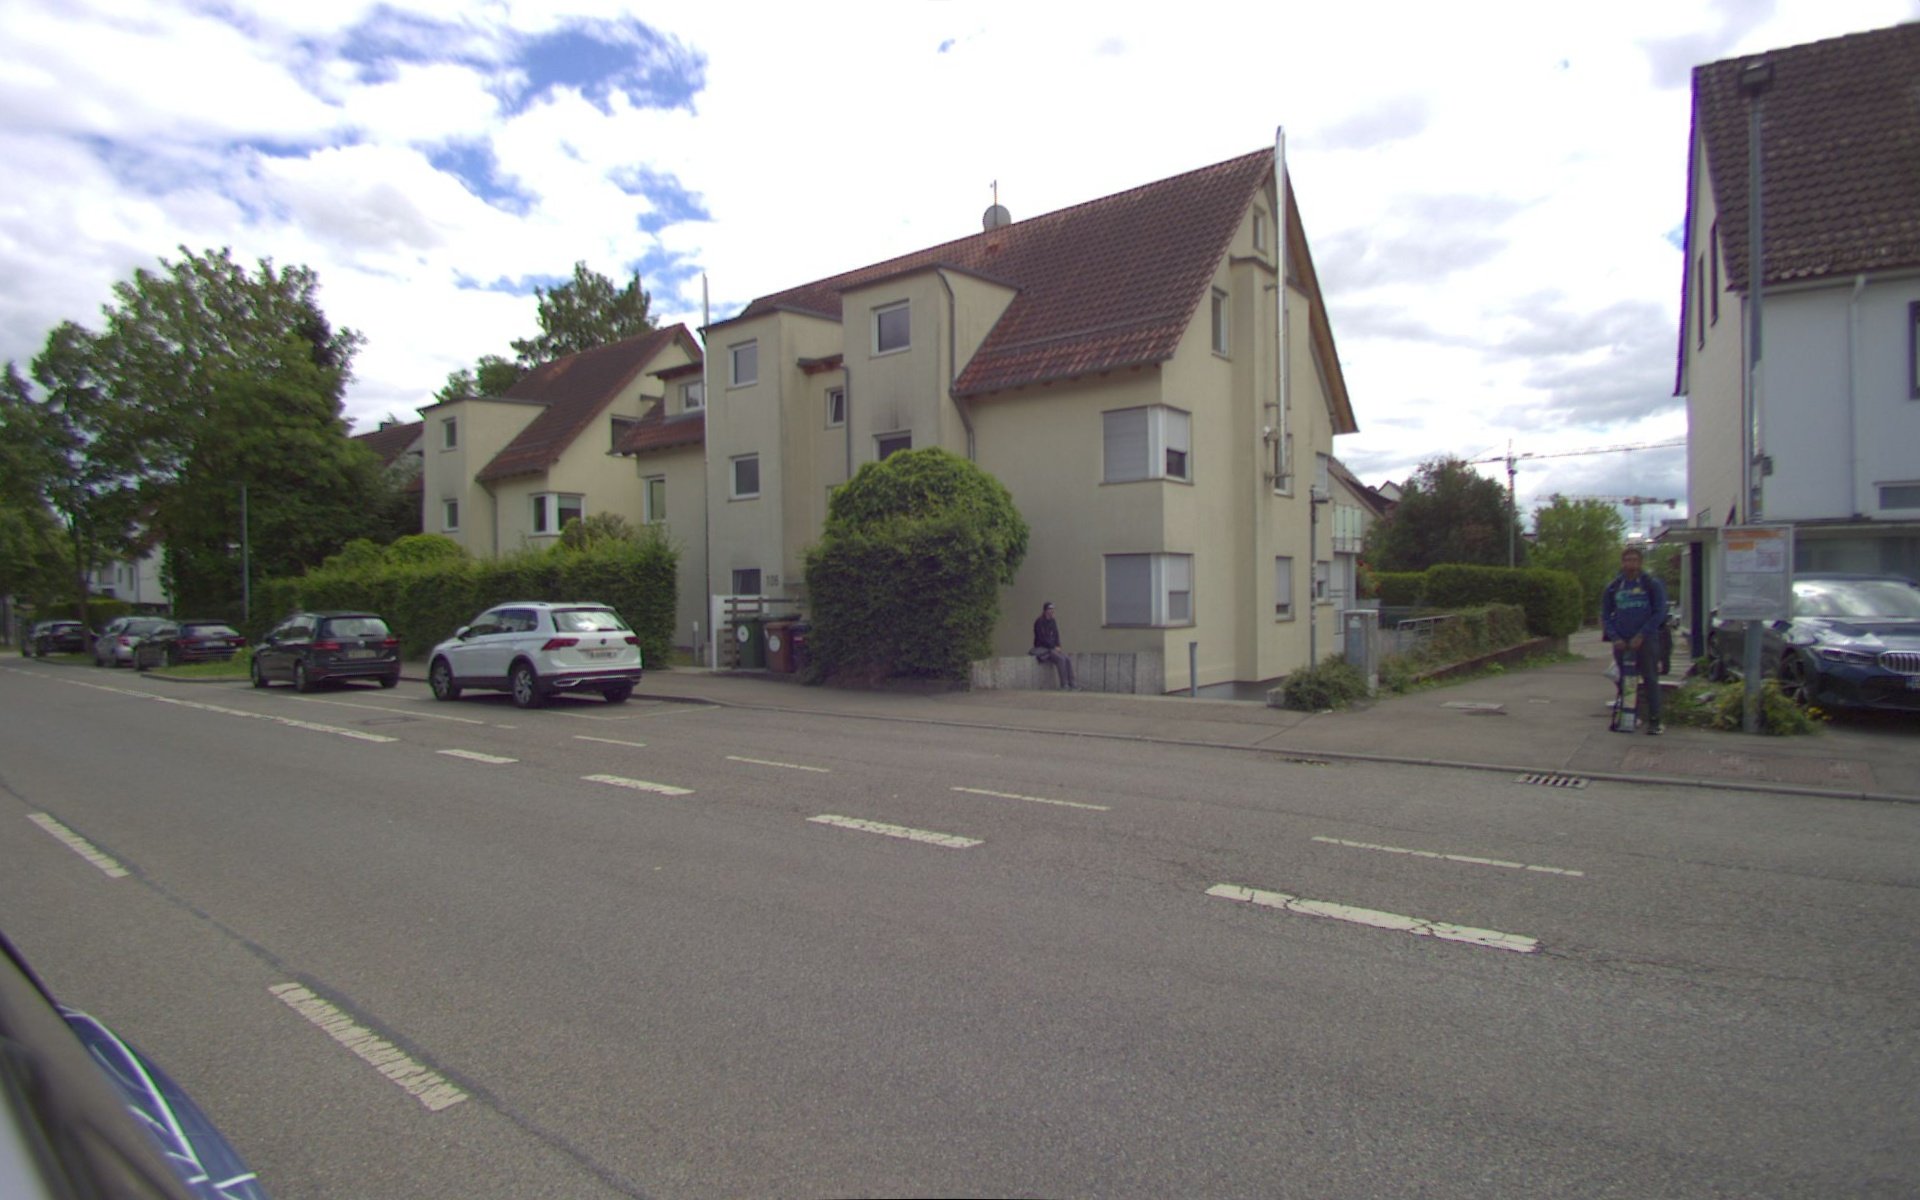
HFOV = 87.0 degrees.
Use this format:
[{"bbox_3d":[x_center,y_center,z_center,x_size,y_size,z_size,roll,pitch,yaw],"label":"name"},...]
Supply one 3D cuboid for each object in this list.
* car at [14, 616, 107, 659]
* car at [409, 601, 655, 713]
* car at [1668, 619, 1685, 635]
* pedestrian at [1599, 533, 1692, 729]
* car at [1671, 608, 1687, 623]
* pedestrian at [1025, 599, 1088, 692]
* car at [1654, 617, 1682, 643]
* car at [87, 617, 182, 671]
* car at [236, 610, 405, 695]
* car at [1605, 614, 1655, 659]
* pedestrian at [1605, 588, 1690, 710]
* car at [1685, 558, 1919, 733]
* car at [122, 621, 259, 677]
[{"bbox_3d":[-37.434,1.550,42.088,5.032,1.659,2.075,-2,-2,39],"label":"car"},{"bbox_3d":[-7.278,0.883,17.004,4.579,1.646,1.803,-1,-1,37],"label":"car"},{"bbox_3d":[84.694,3.163,119.593,1.597,1.572,3.606,-1,2,36],"label":"car"},{"bbox_3d":[6.650,0.293,9.820,0.671,1.820,0.498,-2,-1,40],"label":"pedestrian"},{"bbox_3d":[93.495,1.983,131.546,1.597,1.673,3.556,-1,2,36],"label":"car"},{"bbox_3d":[1.663,0.774,17.526,0.663,1.572,0.837,0,-1,-45],"label":"pedestrian"},{"bbox_3d":[51.181,2.155,73.158,1.597,1.572,3.556,-1,2,36],"label":"car"},{"bbox_3d":[-26.918,1.390,32.959,3.907,1.625,1.701,-1,-1,40],"label":"car"},{"bbox_3d":[-13.242,1.025,20.870,4.267,1.563,1.661,-1,-1,39],"label":"car"},{"bbox_3d":[35.278,1.878,53.266,1.996,2.028,3.952,-1,2,36],"label":"car"},{"bbox_3d":[7.739,0.534,11.398,0.705,1.323,0.581,-2,-1,41],"label":"pedestrian"},{"bbox_3d":[9.757,0.348,11.025,2.023,1.565,4.493,-1,1,23],"label":"car"},{"bbox_3d":[-22.486,1.365,29.510,4.883,1.496,1.975,-1,-1,38],"label":"car"}]
